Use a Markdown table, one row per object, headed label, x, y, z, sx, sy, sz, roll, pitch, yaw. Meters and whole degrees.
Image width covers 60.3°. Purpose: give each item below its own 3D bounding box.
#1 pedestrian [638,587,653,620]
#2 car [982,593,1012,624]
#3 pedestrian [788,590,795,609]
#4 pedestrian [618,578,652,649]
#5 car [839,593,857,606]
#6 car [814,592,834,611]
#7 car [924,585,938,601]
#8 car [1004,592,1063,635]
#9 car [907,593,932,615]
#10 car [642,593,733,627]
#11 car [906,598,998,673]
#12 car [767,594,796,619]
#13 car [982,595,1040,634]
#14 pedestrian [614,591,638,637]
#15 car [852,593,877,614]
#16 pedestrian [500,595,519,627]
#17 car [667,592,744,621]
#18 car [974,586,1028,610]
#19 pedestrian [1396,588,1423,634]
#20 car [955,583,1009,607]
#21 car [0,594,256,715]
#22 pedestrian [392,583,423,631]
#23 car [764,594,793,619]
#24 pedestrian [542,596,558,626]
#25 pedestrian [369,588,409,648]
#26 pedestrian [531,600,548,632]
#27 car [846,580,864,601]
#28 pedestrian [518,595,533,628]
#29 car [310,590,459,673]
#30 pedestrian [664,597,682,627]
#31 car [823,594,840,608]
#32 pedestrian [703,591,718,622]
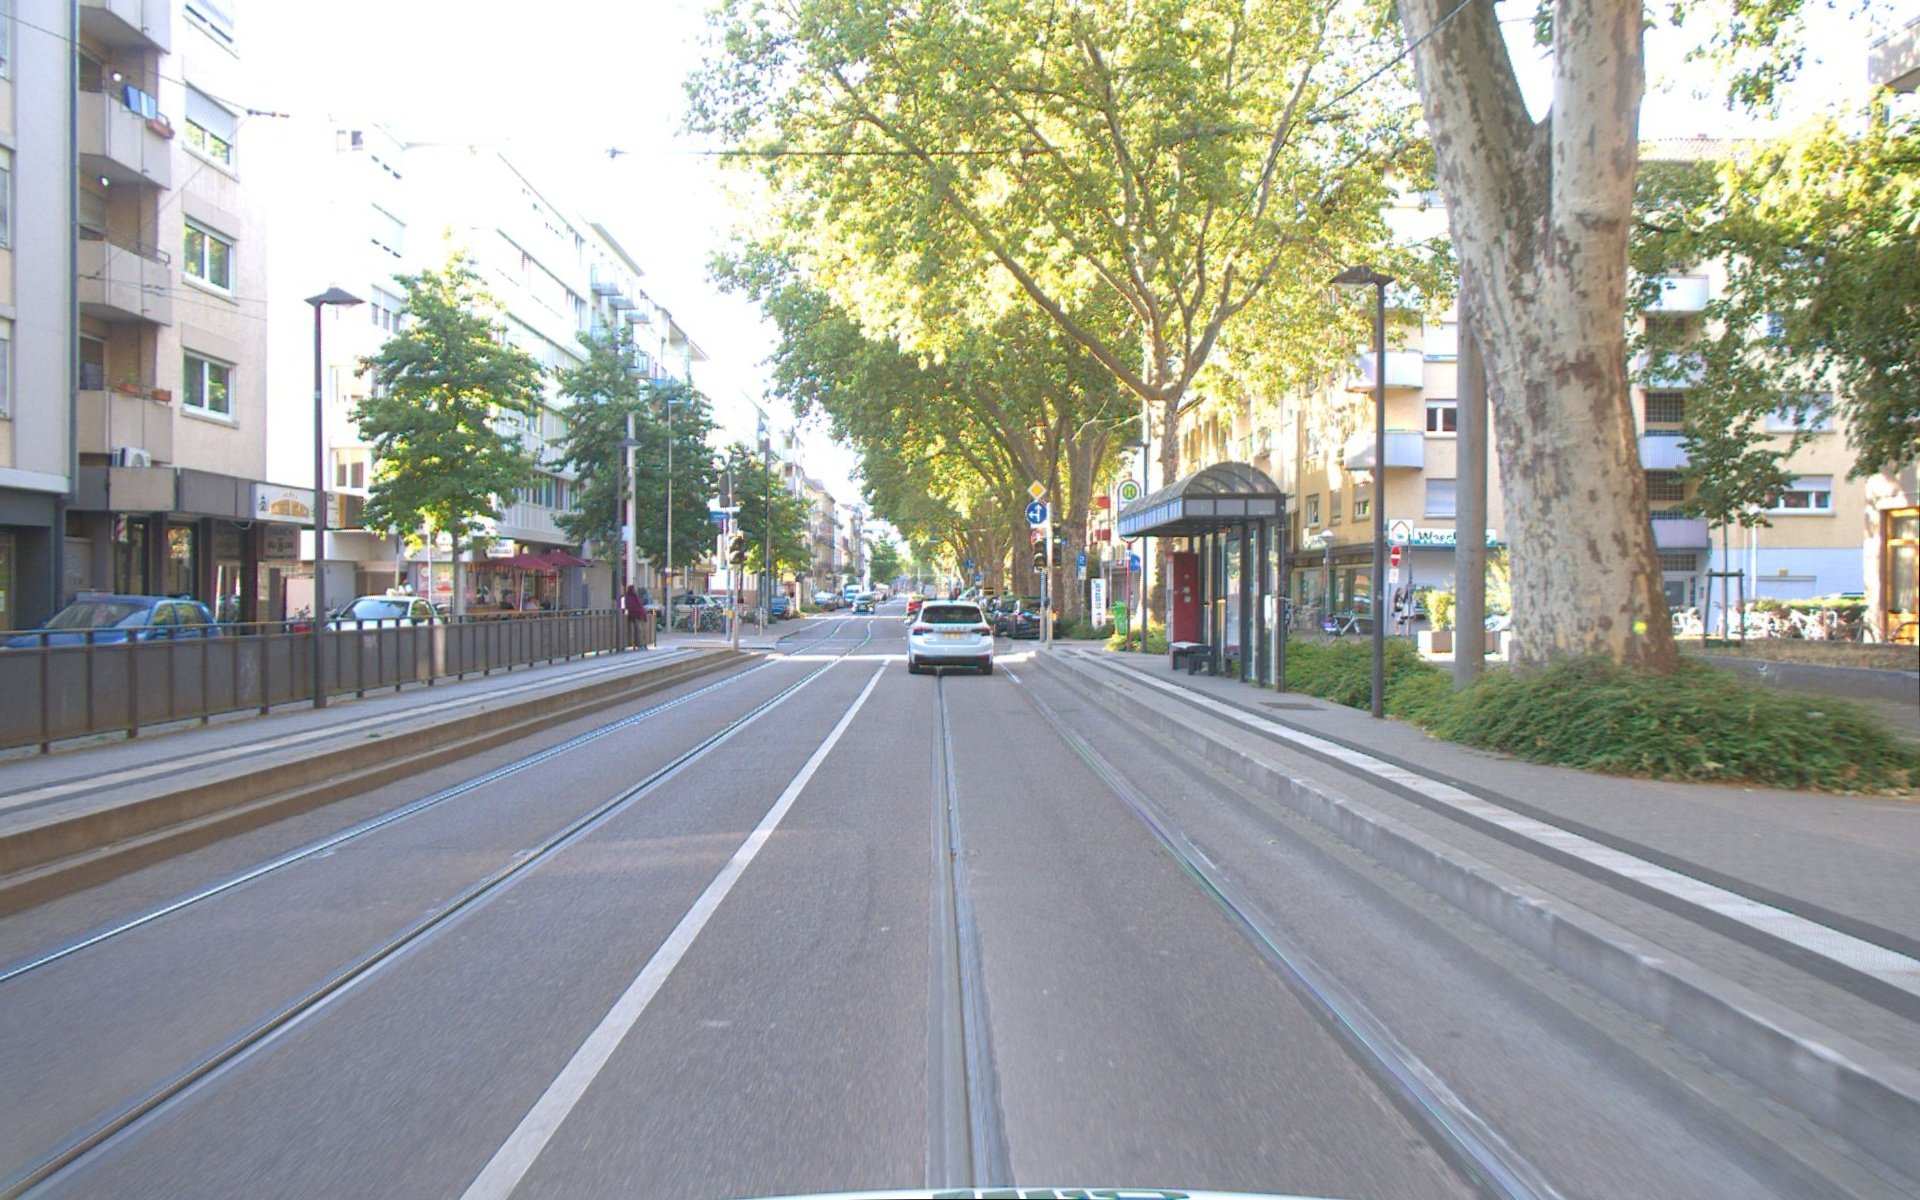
| label | x | y | z | sx | sy | sz | roll | pitch | yaw |
| --- | --- | --- | --- | --- | --- | --- | --- | --- | --- |
| pedestrian | -16.283 | 0.166 | 85.702 | 0.650 | 1.720 | 0.748 | 0 | 0 | -3 |
| car | 1.945 | 0.459 | 88.005 | 1.531 | 1.545 | 2.910 | -1 | -1 | 1 |
| pedestrian | -16.734 | -0.067 | 164.121 | 0.650 | 1.858 | 0.965 | 0 | 0 | -3 |
| pedestrian | -7.460 | 0.308 | 37.972 | 0.640 | 1.613 | 0.772 | 0 | 0 | -1 |
| car | -13.492 | -0.081 | 199.115 | 1.953 | 1.557 | 3.999 | 0 | 0 | -1 |
| car | -12.729 | 0.087 | 154.605 | 1.668 | 1.679 | 4.239 | 2 | 0 | -3 |
| car | -4.461 | -1.072 | 251.872 | 2.157 | 2.429 | 3.999 | 0 | 0 | -1 |
| car | 2.662 | 0.467 | 61.099 | 1.729 | 1.488 | 5.009 | 0 | 0 | -3 |
| car | -2.895 | 0.279 | 118.132 | 1.726 | 1.501 | 3.999 | 0 | 0 | -2 |
| car | -12.640 | 0.458 | 76.919 | 3.931 | 1.501 | 1.851 | 1 | 0 | -1 |
| car | -0.215 | 0.679 | 33.790 | 1.726 | 1.408 | 3.998 | -1 | 0 | -2 |
| car | -11.833 | 0.426 | 109.786 | 1.680 | 1.489 | 4.372 | 3 | 0 | -5 |
| car | 1.997 | 0.554 | 66.077 | 1.828 | 1.462 | 4.222 | -1 | 0 | -4 |
| pedestrian | -11.500 | 0.481 | 56.956 | 0.711 | 1.583 | 0.768 | 0 | 0 | -7 |
| car | -7.560 | 0.259 | 131.193 | 1.834 | 1.617 | 4.144 | 2 | 0 | -3 |
| pedestrian | -17.043 | 0.416 | 62.560 | 0.557 | 1.219 | 0.506 | 0 | 0 | -36 |
| car | -13.592 | 0.355 | 88.487 | 3.933 | 1.501 | 1.850 | 1 | 0 | -4 |
| car | 3.516 | -0.181 | 142.625 | 4.453 | 2.113 | 1.999 | 0 | 0 | -4 |
| pedestrian | 15.494 | 0.362 | 56.990 | 0.690 | 1.566 | 0.687 | 0 | 0 | 40 |
| car | 2.486 | -0.606 | 189.598 | 6.008 | 2.681 | 2.528 | 0 | 0 | -3 |
| car | -12.123 | 0.711 | 24.047 | 1.916 | 1.571 | 4.388 | -1 | 0 | -1 |
| pedestrian | -19.215 | 0.240 | 57.543 | 0.731 | 1.688 | 0.769 | 0 | 0 | 11 |
| car | -11.535 | 0.418 | 105.006 | 1.681 | 1.489 | 3.993 | 3 | 0 | -8 |
| pedestrian | -16.400 | 0.438 | 66.161 | 0.506 | 1.219 | 0.558 | 0 | 0 | -30 |
| pedestrian | -15.061 | 0.469 | 43.633 | 0.710 | 1.583 | 0.726 | 0 | 0 | 21 |
| pedestrian | -16.245 | 0.599 | 63.917 | 0.501 | 1.219 | 0.564 | 0 | 0 | 1 |
| car | -14.618 | -1.293 | 229.487 | 2.295 | 2.911 | 3.999 | 0 | 0 | -1 |
| pedestrian | -16.345 | 0.416 | 62.227 | 0.503 | 1.219 | 0.561 | 0 | 0 | -17 |
| car | -12.514 | 0.642 | 36.272 | 1.840 | 1.680 | 4.356 | -1 | 0 | -2 |
| pedestrian | -12.759 | 0.514 | 73.555 | 0.700 | 1.320 | 0.744 | 0 | 0 | -15 |
| car | -13.195 | 0.111 | 170.252 | 1.620 | 1.462 | 3.835 | 0 | 0 | -3 |
| pedestrian | -13.822 | 0.340 | 91.586 | 0.748 | 1.720 | 0.794 | 0 | 0 | -3 |
